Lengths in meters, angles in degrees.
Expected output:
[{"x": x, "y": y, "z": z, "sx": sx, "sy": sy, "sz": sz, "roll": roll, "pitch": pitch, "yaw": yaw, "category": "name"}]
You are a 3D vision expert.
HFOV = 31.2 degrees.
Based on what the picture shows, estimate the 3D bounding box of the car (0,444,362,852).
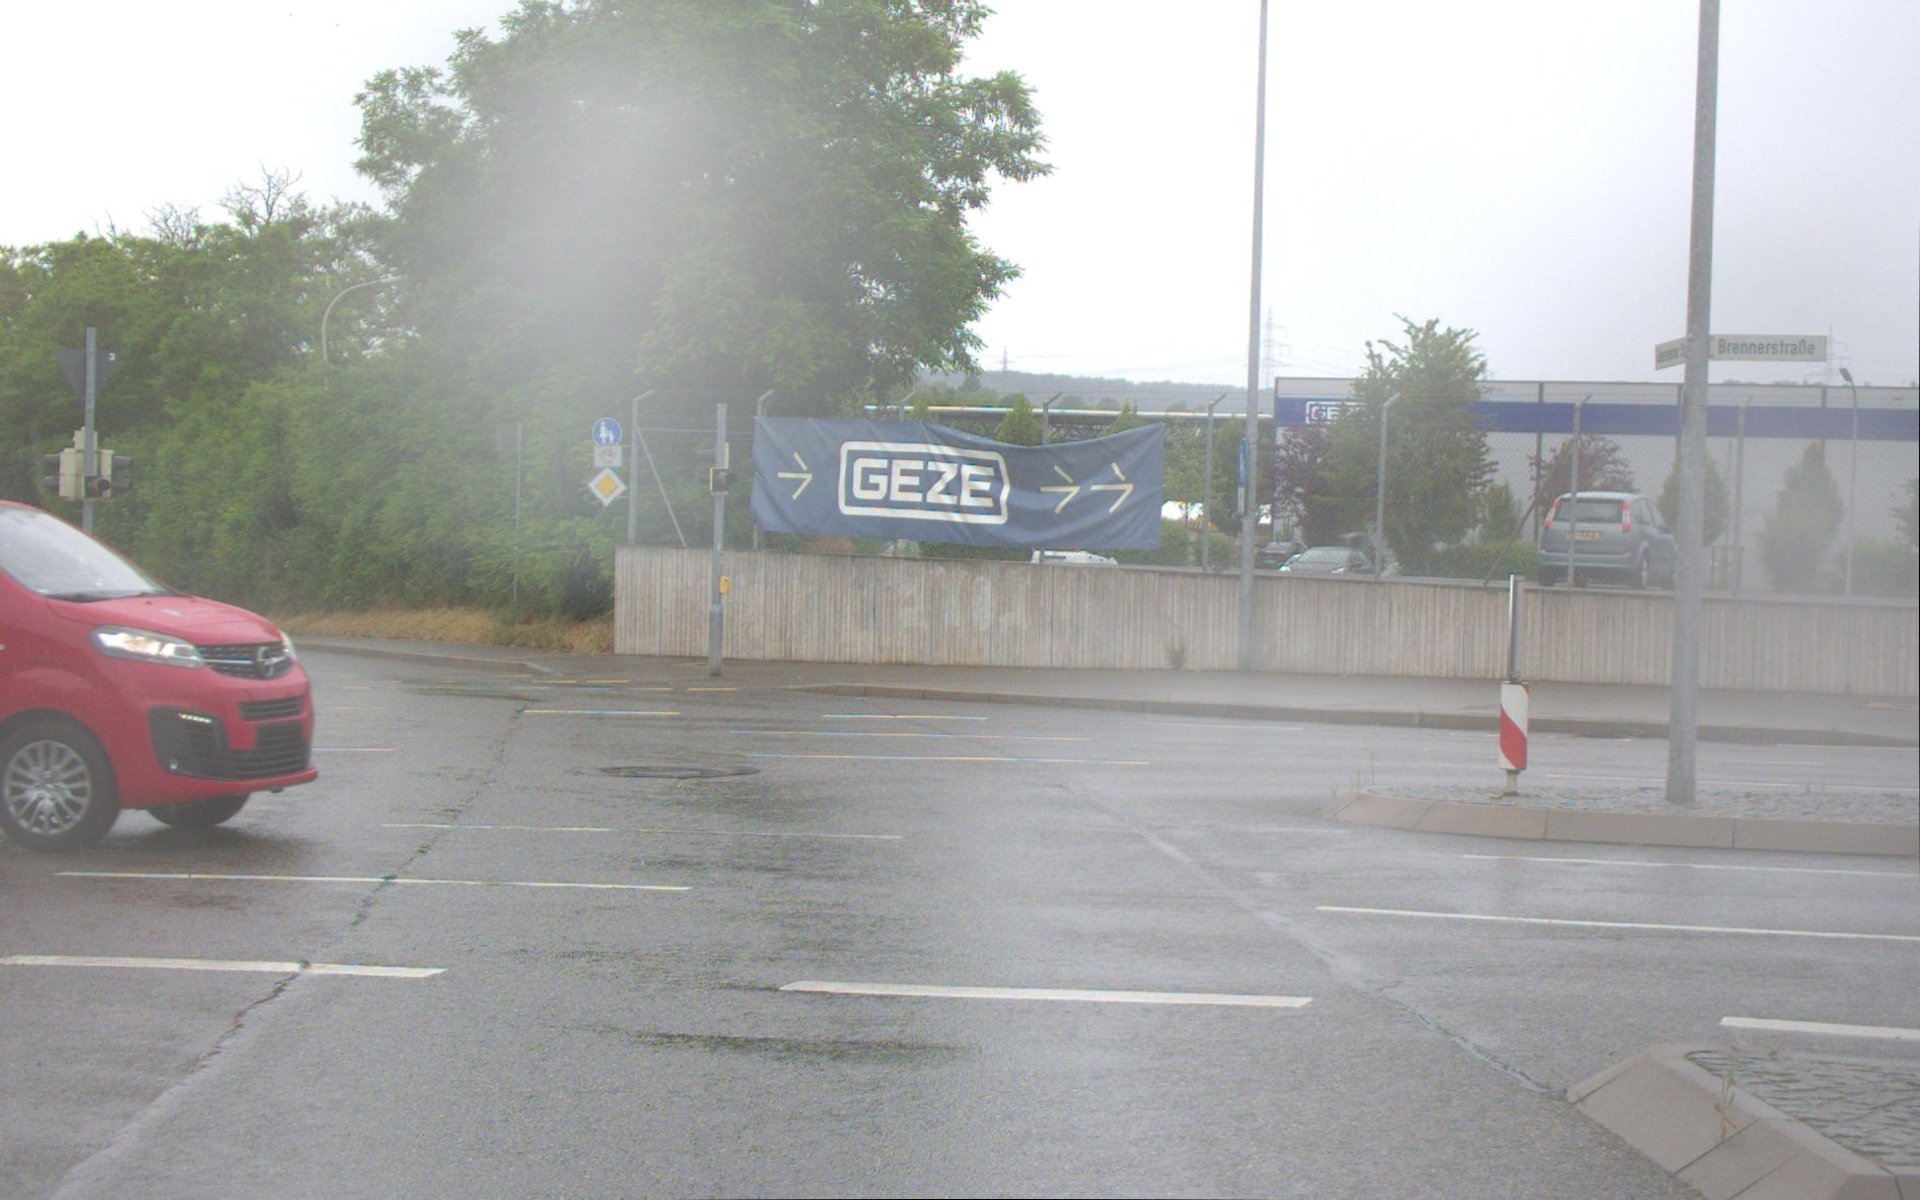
[{"x": -5.843, "y": 0.180, "z": 18.449, "sx": 4.774, "sy": 2.007, "sz": 1.999, "roll": 1, "pitch": 1, "yaw": 12, "category": "car"}]

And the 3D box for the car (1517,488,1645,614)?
[{"x": 10.449, "y": -0.831, "z": 57.691, "sx": 1.994, "sy": 2.007, "sz": 3.998, "roll": 1, "pitch": 1, "yaw": 11, "category": "car"}]
